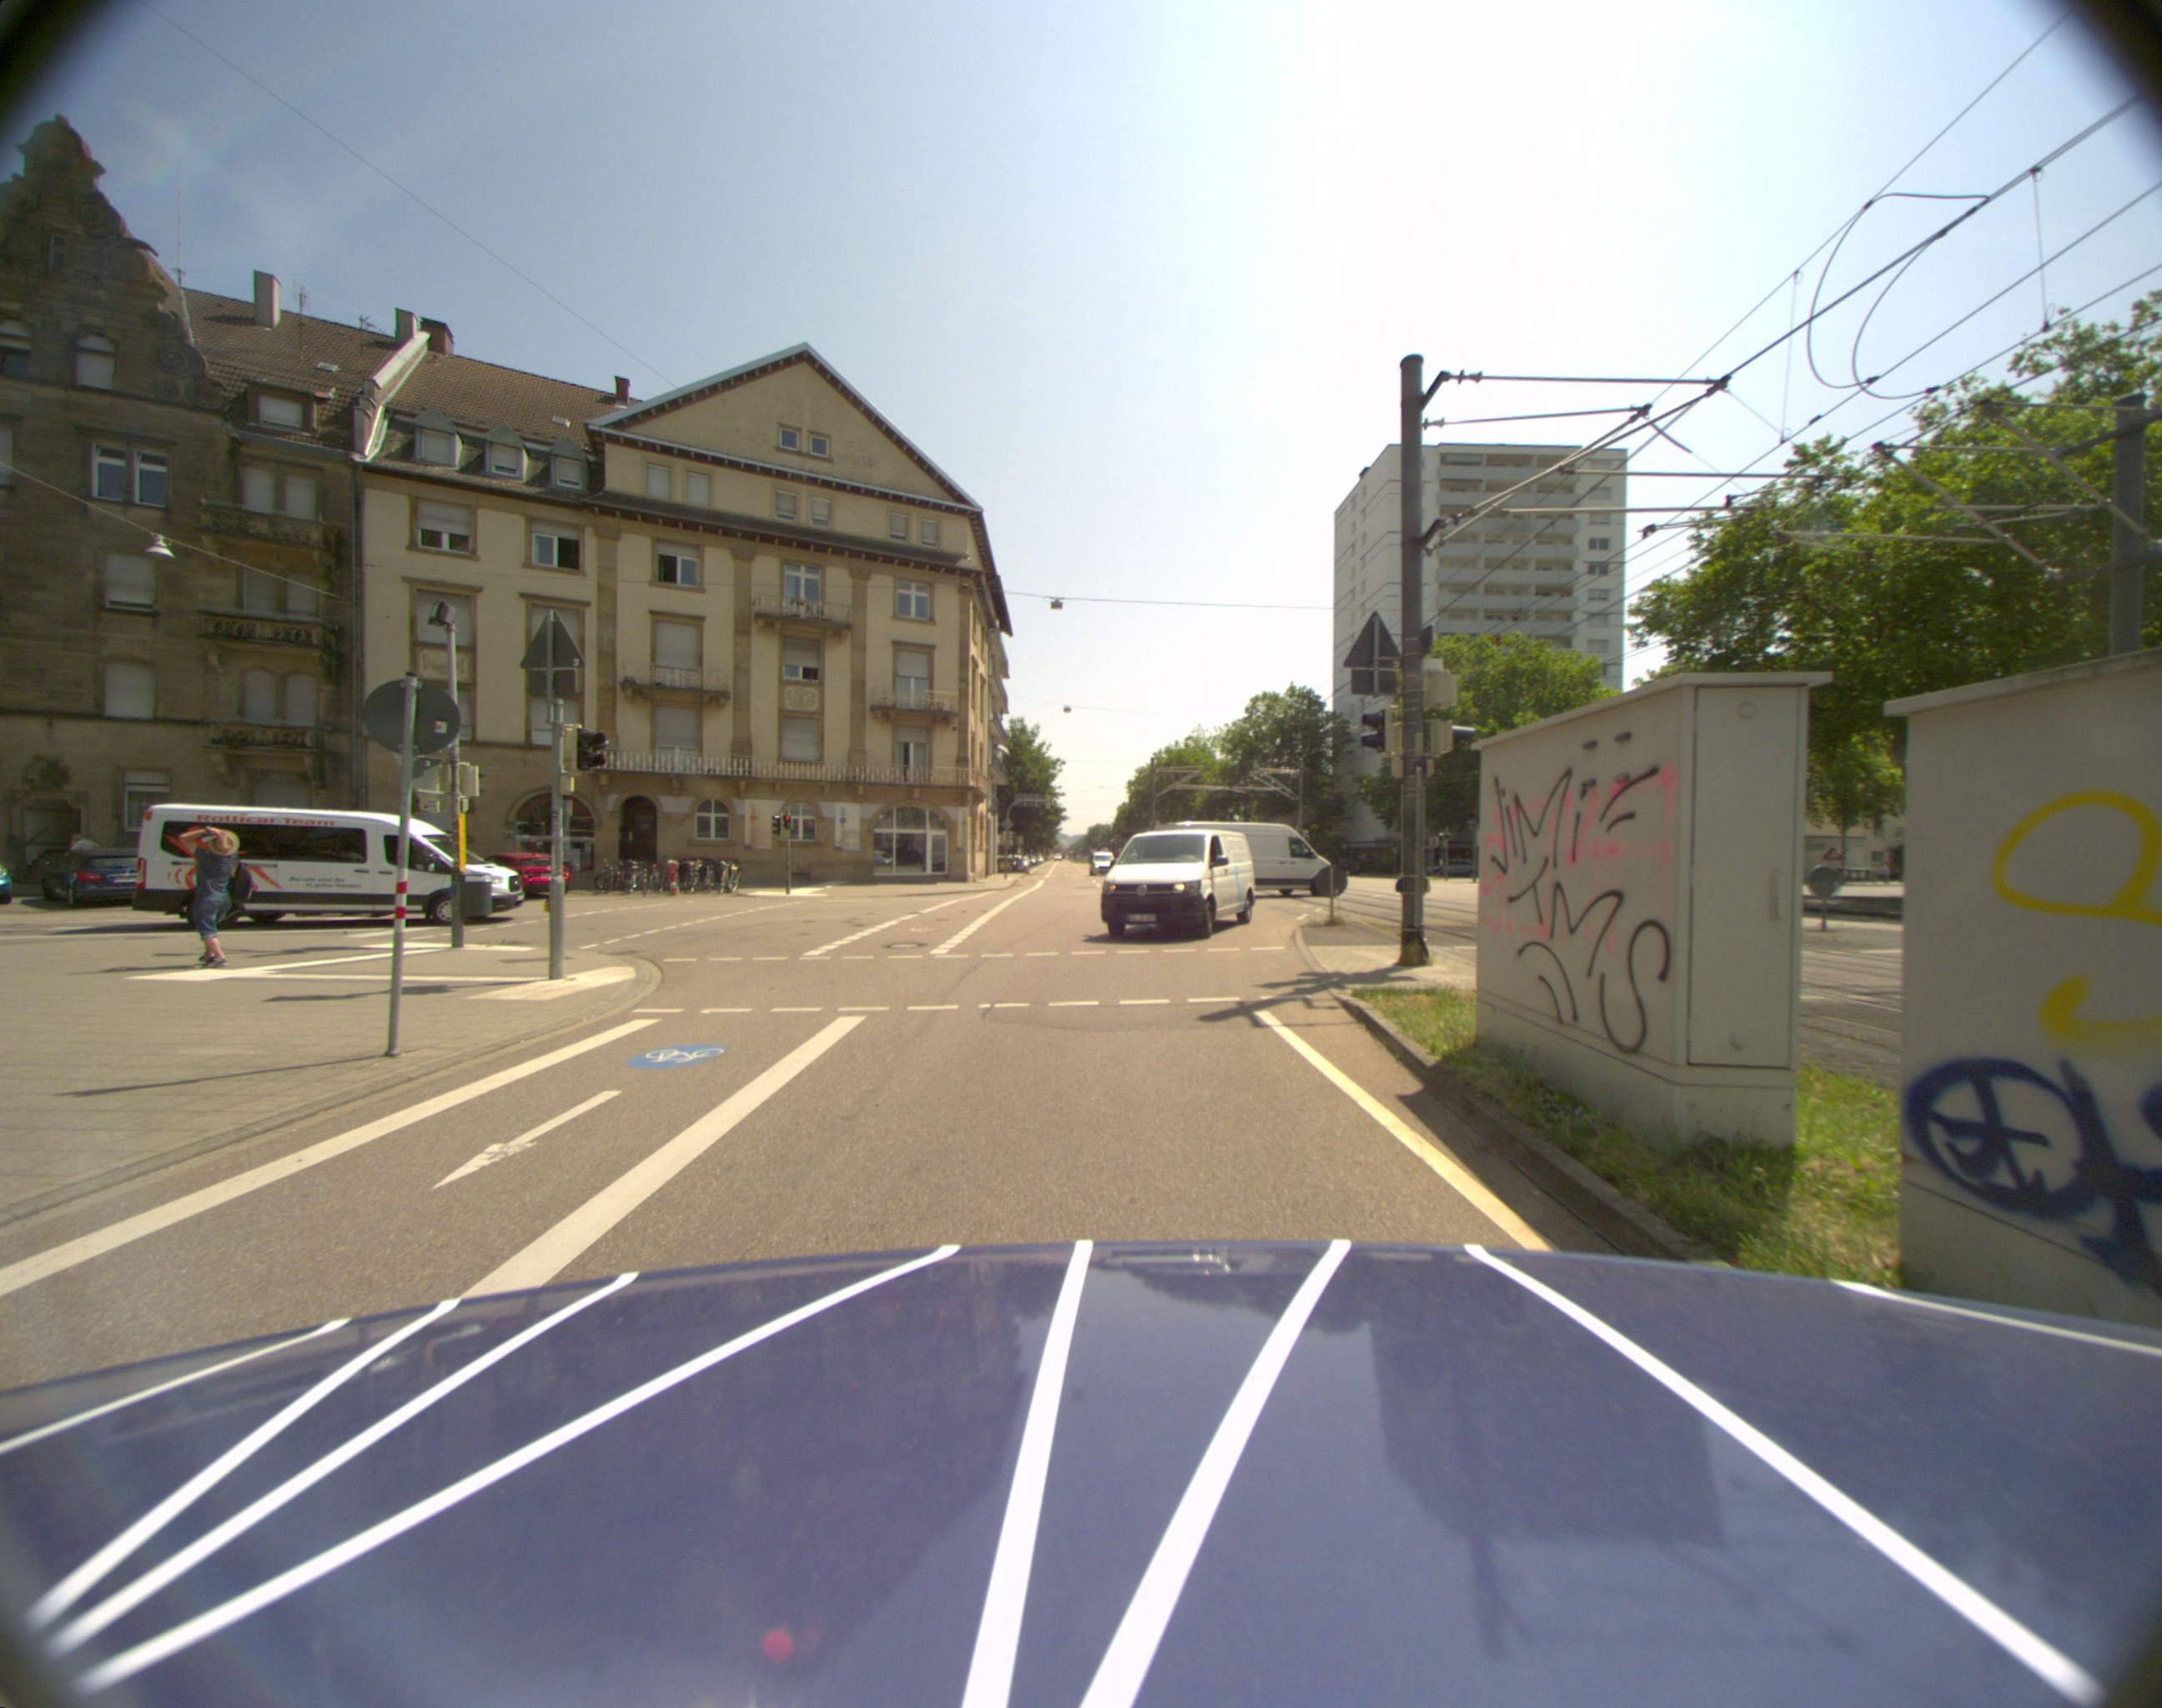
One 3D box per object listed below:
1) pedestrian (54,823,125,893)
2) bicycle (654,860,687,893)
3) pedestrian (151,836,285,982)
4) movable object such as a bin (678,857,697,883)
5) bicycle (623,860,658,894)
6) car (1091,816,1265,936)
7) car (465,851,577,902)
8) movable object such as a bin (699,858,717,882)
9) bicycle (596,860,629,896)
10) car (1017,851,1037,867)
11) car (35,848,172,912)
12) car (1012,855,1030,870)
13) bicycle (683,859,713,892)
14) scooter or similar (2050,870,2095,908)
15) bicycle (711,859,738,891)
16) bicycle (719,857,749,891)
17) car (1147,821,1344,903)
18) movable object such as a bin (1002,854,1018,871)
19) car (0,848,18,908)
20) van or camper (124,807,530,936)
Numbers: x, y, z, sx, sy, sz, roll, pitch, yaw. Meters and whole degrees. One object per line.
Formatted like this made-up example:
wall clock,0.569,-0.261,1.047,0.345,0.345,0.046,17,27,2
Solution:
pedestrian,-30.772,0.119,23.591,1.100,2.101,0.867,0,1,6
bicycle,-15.614,0.833,28.946,0.565,1.145,1.803,0,2,-12
pedestrian,-11.140,0.679,9.839,0.744,1.812,0.834,0,1,6
movable object such as a bin,-16.483,0.657,31.831,0.591,1.058,0.669,-1,1,-17
bicycle,-16.246,0.826,28.054,0.565,1.145,1.803,0,2,-12
car,2.106,0.339,14.904,1.848,1.942,4.952,1,1,27
car,-18.832,0.720,25.563,3.218,1.471,1.619,2,4,25
movable object such as a bin,-15.780,0.682,32.171,0.591,0.989,0.582,-1,1,-17
bicycle,-16.742,0.841,27.168,0.566,1.145,1.802,-1,2,-18
car,-5.395,0.505,75.978,1.999,1.522,3.998,0,1,-4
car,-27.552,0.671,21.427,3.218,1.566,1.619,2,4,25
car,-6.915,0.967,88.029,1.999,1.522,3.998,0,1,-4
bicycle,-14.877,0.821,29.556,0.565,1.145,1.803,0,2,-12
scooter or similar,30.574,1.069,23.443,0.257,1.114,0.977,0,1,11
bicycle,-14.047,0.806,29.983,0.565,1.145,1.803,0,2,-12
bicycle,-13.056,0.723,28.628,0.565,1.145,2.057,0,2,-11
car,5.730,0.247,26.288,6.641,2.622,2.073,0,1,-23
movable object such as a bin,-5.817,0.694,62.293,1.214,1.428,1.008,0,1,-3
car,-30.607,0.652,20.490,3.218,1.566,1.619,2,4,25
van or camper,-15.847,0.341,16.551,5.910,2.447,2.069,0,1,-25
